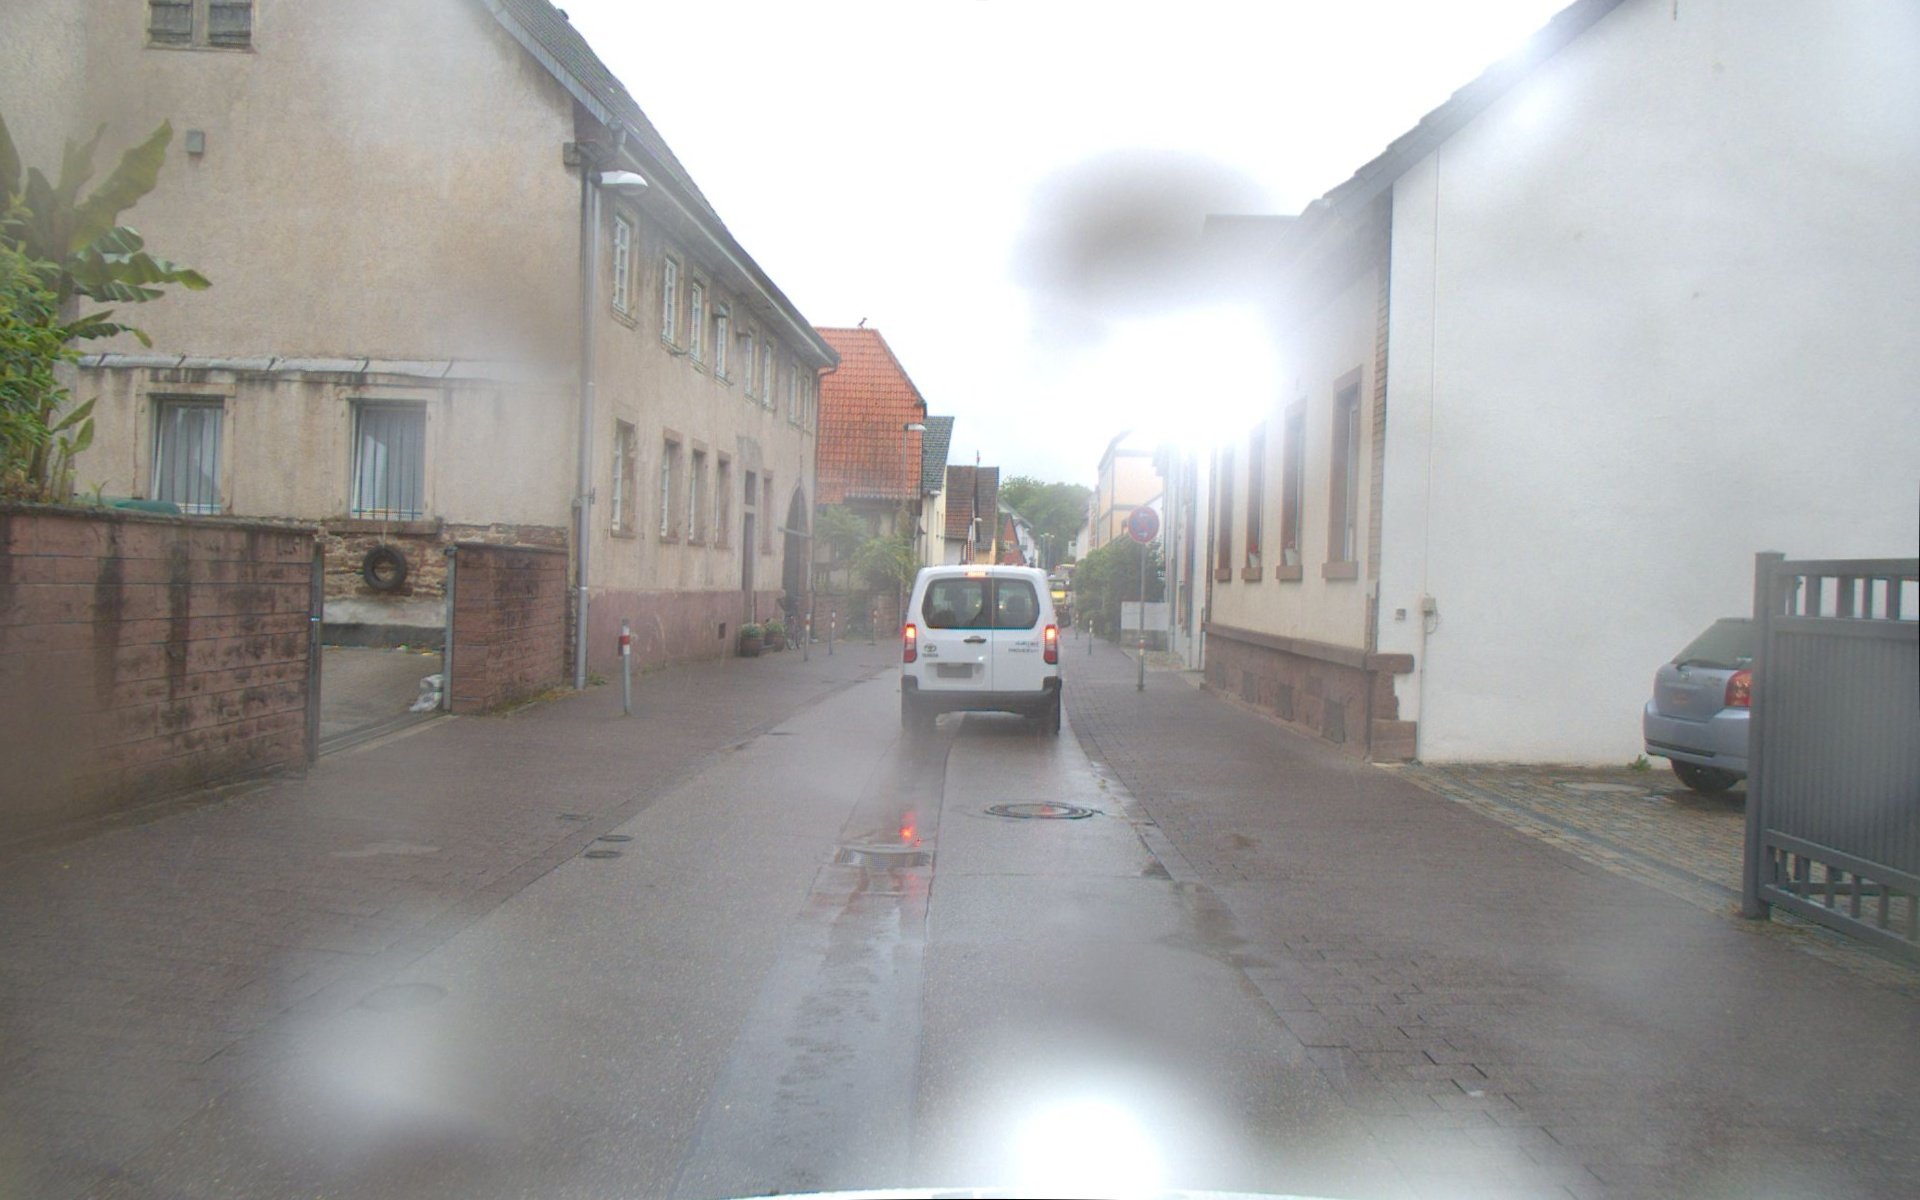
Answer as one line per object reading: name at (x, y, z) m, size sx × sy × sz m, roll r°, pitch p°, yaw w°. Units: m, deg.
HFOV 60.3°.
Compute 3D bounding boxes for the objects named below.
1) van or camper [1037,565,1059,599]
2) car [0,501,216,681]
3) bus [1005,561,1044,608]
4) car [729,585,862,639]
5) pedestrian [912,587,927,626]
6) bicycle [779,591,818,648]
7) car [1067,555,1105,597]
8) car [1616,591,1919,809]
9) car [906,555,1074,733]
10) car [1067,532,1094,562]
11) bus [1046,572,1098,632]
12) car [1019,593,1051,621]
van or camper at (8.351, -1.661, 156.185) m, size 1.797 × 2.976 × 5.366 m, roll 3°, pitch 0°, yaw 5°
car at (-10.310, -0.213, 18.723) m, size 1.946 × 1.745 × 4.304 m, roll 2°, pitch 3°, yaw -2°
bus at (5.118, -1.185, 129.779) m, size 2.735 × 3.387 × 8.181 m, roll 4°, pitch 0°, yaw 3°
car at (-4.654, 0.339, 47.030) m, size 3.453 × 1.400 × 1.595 m, roll 2°, pitch 0°, yaw 5°
pedestrian at (-1.634, 0.261, 66.780) m, size 0.556 × 1.557 × 0.568 m, roll 1°, pitch 0°, yaw -6°
bicycle at (-3.558, 0.428, 36.576) m, size 0.473 × 1.200 × 1.836 m, roll 3°, pitch 0°, yaw 5°
car at (6.582, -1.232, 86.830) m, size 1.789 × 2.049 × 3.695 m, roll 3°, pitch 0°, yaw 3°
car at (7.446, 0.782, 12.979) m, size 3.819 × 1.524 × 1.850 m, roll 2°, pitch 0°, yaw -4°
car at (0.421, 0.473, 19.323) m, size 1.757 × 1.850 × 4.103 m, roll 0°, pitch 0°, yaw 3°
car at (9.167, -3.998, 125.708) m, size 1.952 × 2.049 × 4.002 m, roll 3°, pitch 0°, yaw 4°
bus at (6.597, 0.154, 98.284) m, size 2.735 × 3.235 × 8.181 m, roll 4°, pitch 0°, yaw 3°
car at (3.979, 0.374, 87.278) m, size 1.529 × 1.395 × 3.586 m, roll 3°, pitch 0°, yaw 4°
